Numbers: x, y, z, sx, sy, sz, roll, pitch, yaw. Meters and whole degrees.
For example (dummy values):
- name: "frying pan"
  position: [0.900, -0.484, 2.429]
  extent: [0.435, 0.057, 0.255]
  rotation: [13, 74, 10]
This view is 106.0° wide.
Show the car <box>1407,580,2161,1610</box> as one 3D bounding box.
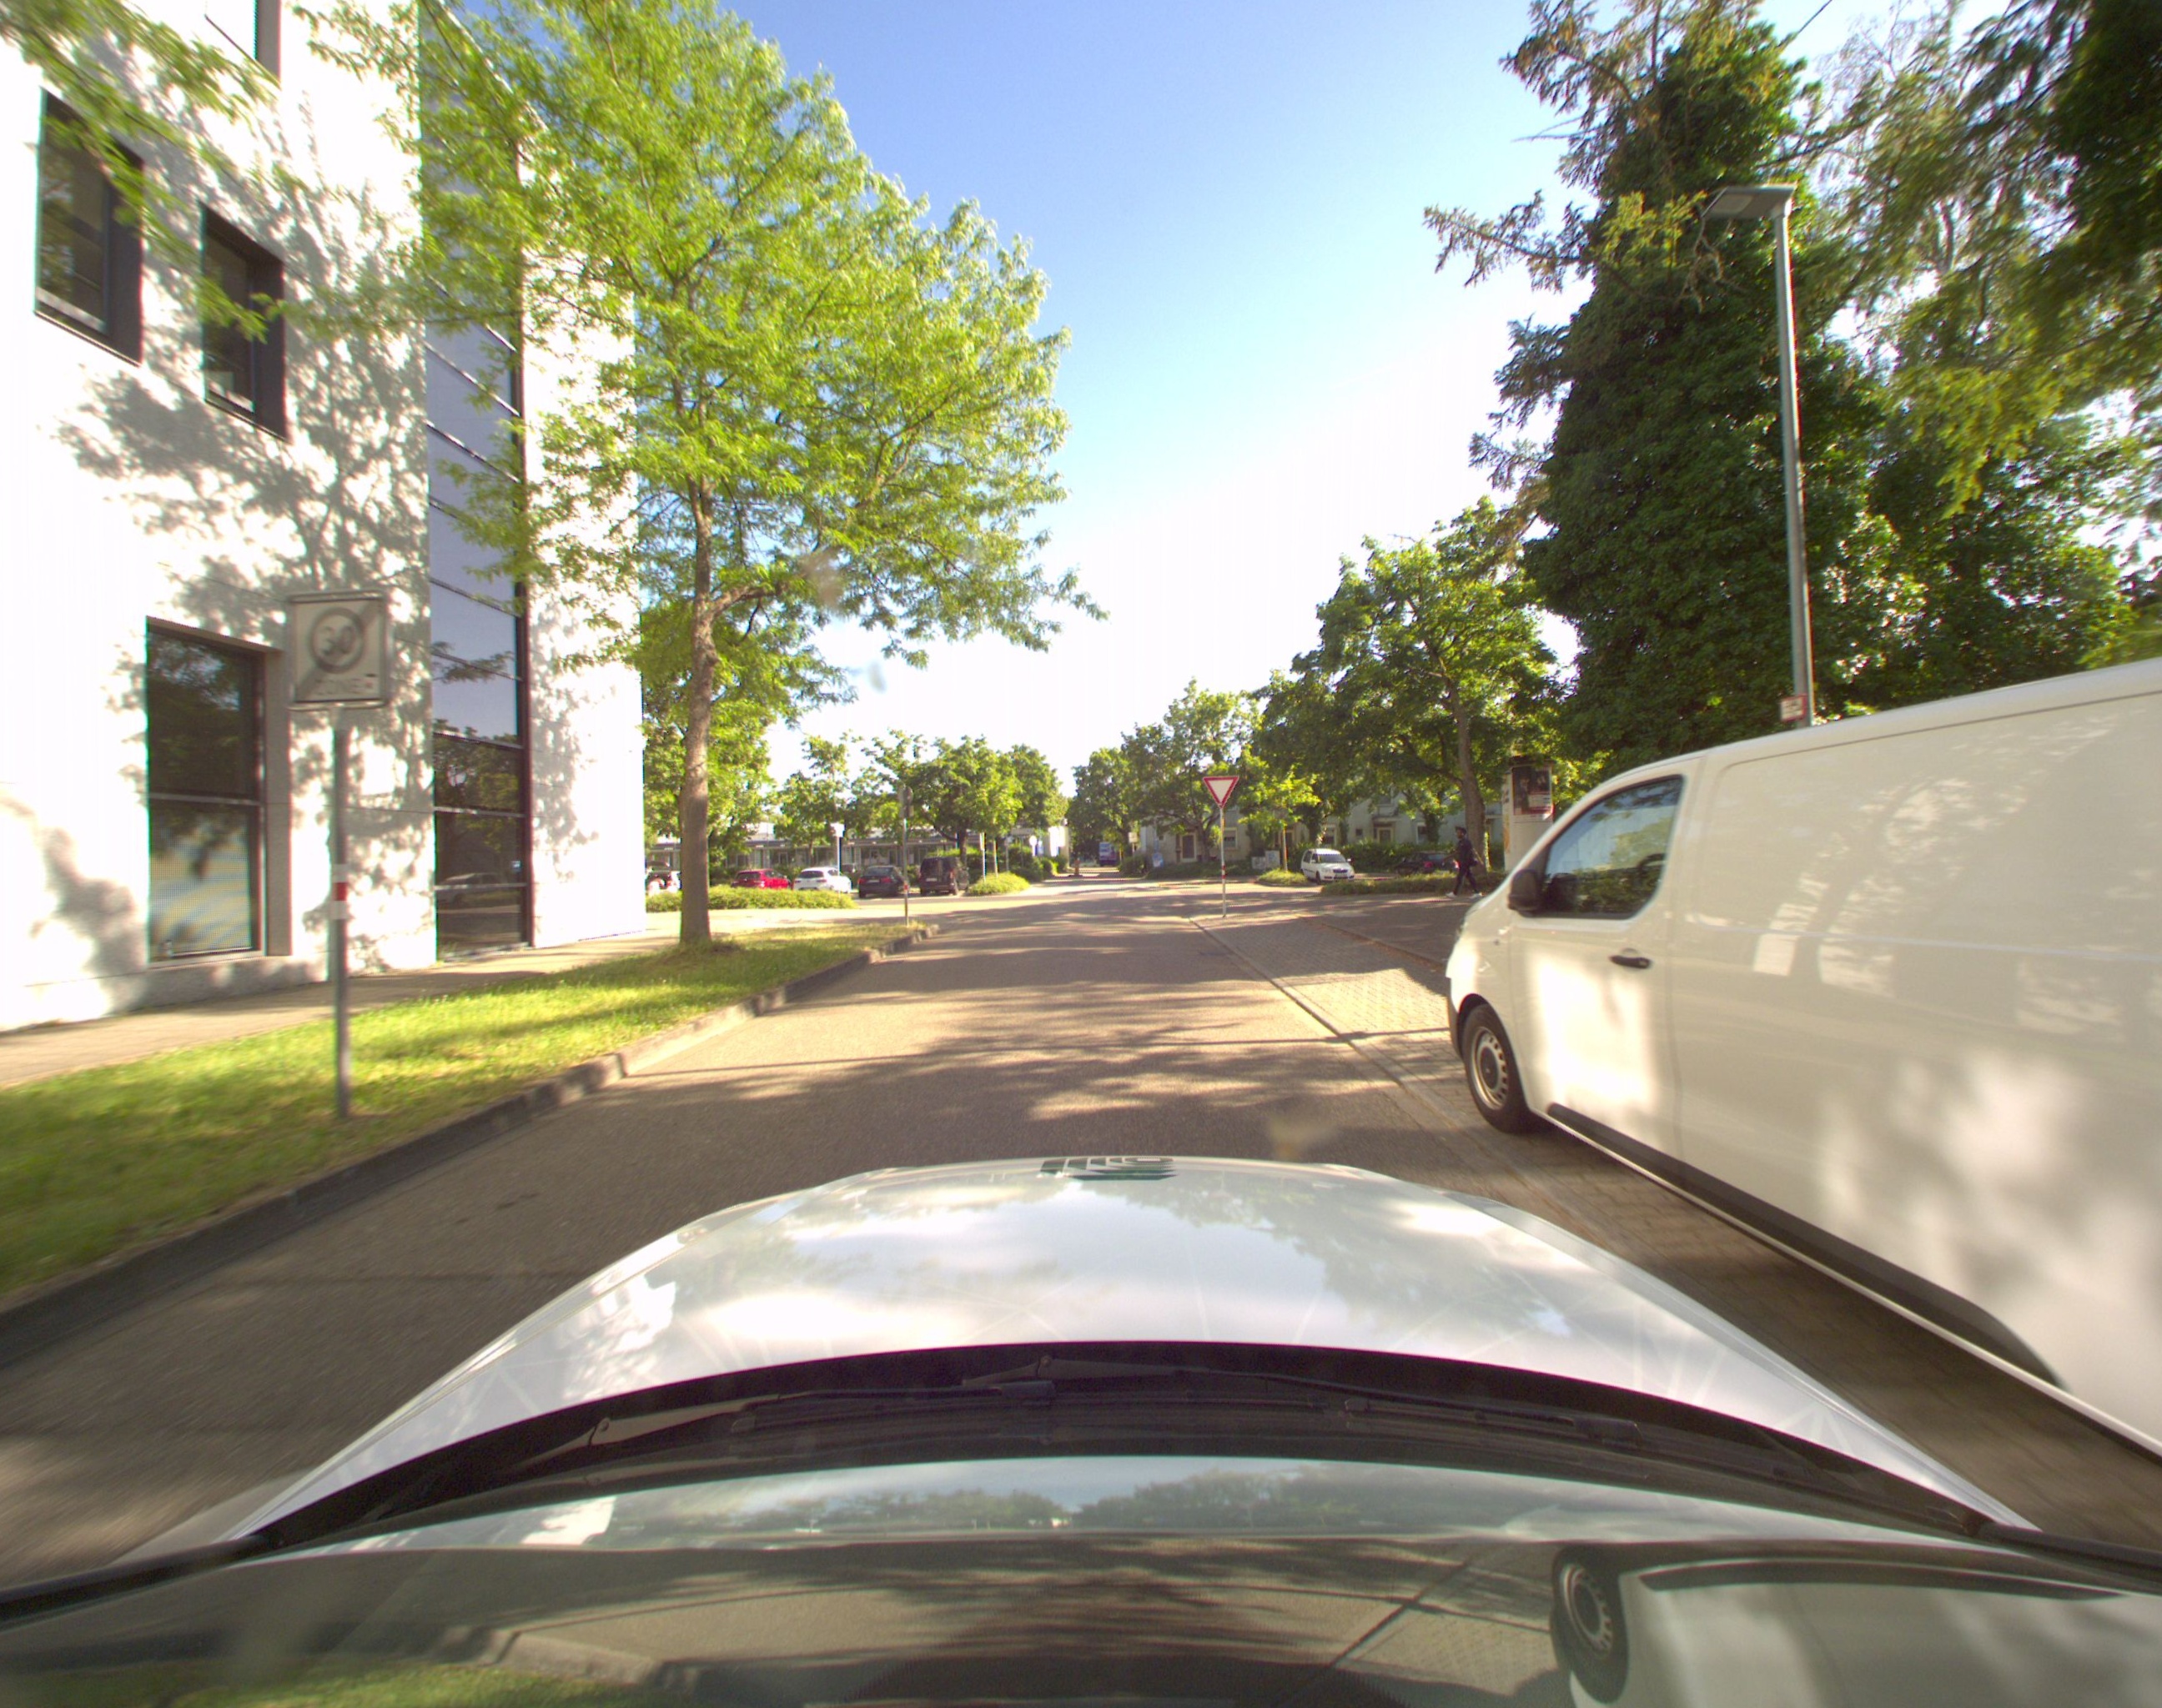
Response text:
- name: "car"
  position: [2.990, 0.420, 2.705]
  extent: [1.891, 1.914, 5.151]
  rotation: [-3, 0, 3]

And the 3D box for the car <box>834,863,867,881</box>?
- name: "car"
  position: [-22.232, 1.725, 78.750]
  extent: [1.828, 1.497, 3.912]
  rotation: [-2, 0, 4]

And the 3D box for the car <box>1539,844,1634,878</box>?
- name: "car"
  position: [23.227, 0.289, 37.612]
  extent: [1.817, 1.406, 4.168]
  rotation: [-2, 1, 0]

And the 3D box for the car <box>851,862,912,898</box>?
- name: "car"
  position: [-9.428, 1.186, 38.812]
  extent: [1.817, 1.406, 4.168]
  rotation: [-2, 1, 0]

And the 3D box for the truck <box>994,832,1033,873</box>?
- name: "truck"
  position: [-6.592, -0.152, 80.053]
  extent: [2.790, 3.806, 6.931]
  rotation: [-1, 0, 4]

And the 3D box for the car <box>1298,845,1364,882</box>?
- name: "car"
  position: [11.681, 0.403, 38.376]
  extent: [1.817, 1.598, 4.168]
  rotation: [-2, 1, 0]

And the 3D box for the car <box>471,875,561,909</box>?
- name: "car"
  position: [-27.107, 1.794, 39.227]
  extent: [1.611, 1.468, 3.911]
  rotation: [-1, 0, 0]

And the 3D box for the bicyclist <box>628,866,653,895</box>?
- name: "bicyclist"
  position: [-23.434, 1.424, 43.337]
  extent: [1.007, 1.523, 0.596]
  rotation: [-1, 0, 3]

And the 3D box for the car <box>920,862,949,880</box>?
- name: "car"
  position: [-14.050, 1.623, 78.278]
  extent: [1.828, 1.497, 3.912]
  rotation: [-2, 0, 4]

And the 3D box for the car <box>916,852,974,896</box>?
- name: "car"
  position: [-6.443, 0.908, 38.905]
  extent: [1.867, 1.846, 4.171]
  rotation: [-2, 1, 2]

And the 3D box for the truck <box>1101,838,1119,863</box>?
- name: "truck"
  position: [4.730, -0.529, 133.490]
  extent: [2.749, 3.869, 9.335]
  rotation: [-1, 0, 2]

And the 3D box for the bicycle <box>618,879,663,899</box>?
- name: "bicycle"
  position: [-23.445, 1.864, 43.339]
  extent: [2.073, 0.996, 0.596]
  rotation: [-1, 0, 2]

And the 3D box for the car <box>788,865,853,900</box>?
- name: "car"
  position: [-12.380, 1.316, 38.970]
  extent: [1.797, 1.436, 3.912]
  rotation: [-1, 1, 0]

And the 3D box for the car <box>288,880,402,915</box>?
- name: "car"
  position: [-34.857, 2.021, 38.702]
  extent: [1.828, 1.416, 3.748]
  rotation: [-2, 0, 3]

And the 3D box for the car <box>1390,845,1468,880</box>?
- name: "car"
  position: [16.165, 0.351, 38.067]
  extent: [1.817, 1.406, 4.168]
  rotation: [-2, 1, 0]

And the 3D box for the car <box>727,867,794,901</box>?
- name: "car"
  position: [-15.229, 1.394, 38.899]
  extent: [1.662, 1.426, 3.911]
  rotation: [-1, 0, 0]

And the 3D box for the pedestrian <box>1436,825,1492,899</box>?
- name: "pedestrian"
  position: [9.018, 0.184, 19.187]
  extent: [0.809, 1.684, 0.831]
  rotation: [-2, 1, -29]

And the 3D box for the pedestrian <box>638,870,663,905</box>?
- name: "pedestrian"
  position: [-19.842, 1.533, 37.508]
  extent: [0.665, 1.579, 0.771]
  rotation: [-1, -1, 30]

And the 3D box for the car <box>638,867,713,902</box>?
- name: "car"
  position: [-19.760, 1.454, 39.875]
  extent: [1.669, 1.578, 3.911]
  rotation: [-1, 0, 0]
